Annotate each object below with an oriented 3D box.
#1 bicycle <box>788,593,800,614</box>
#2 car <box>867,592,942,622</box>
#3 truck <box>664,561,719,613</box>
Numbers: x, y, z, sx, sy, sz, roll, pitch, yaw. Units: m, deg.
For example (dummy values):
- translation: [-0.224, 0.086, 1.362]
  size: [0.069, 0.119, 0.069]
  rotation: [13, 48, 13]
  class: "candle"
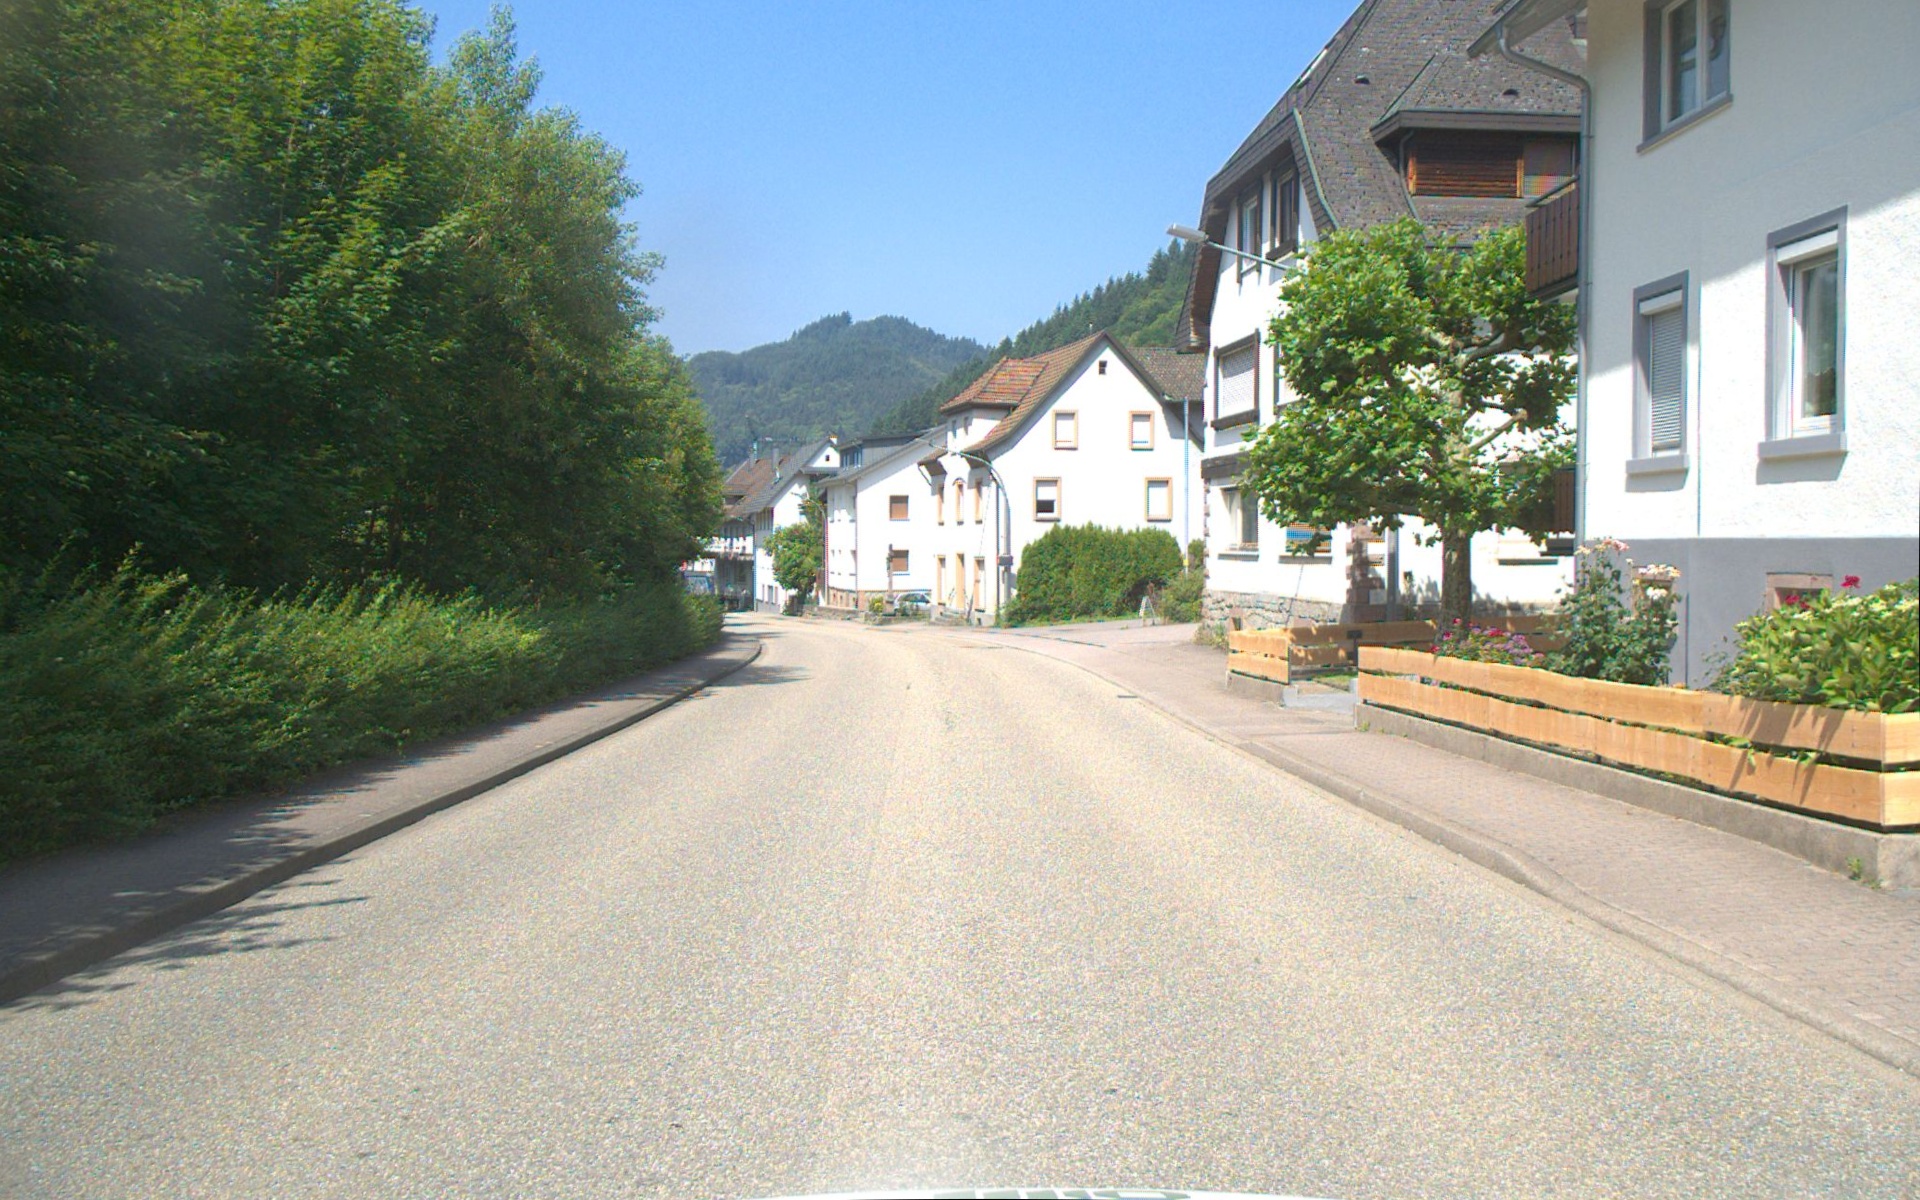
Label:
- translation: [-11.176, 0.223, 111.419]
  size: [0.418, 1.420, 2.269]
  rotation: [-4, 1, -13]
  class: "bicycle"
- translation: [-2.941, 0.364, 87.345]
  size: [3.695, 1.452, 1.606]
  rotation: [-2, 0, 32]
  class: "car"
- translation: [-22.931, -1.056, 140.748]
  size: [3.311, 3.847, 8.398]
  rotation: [-4, -1, -17]
  class: "truck"
